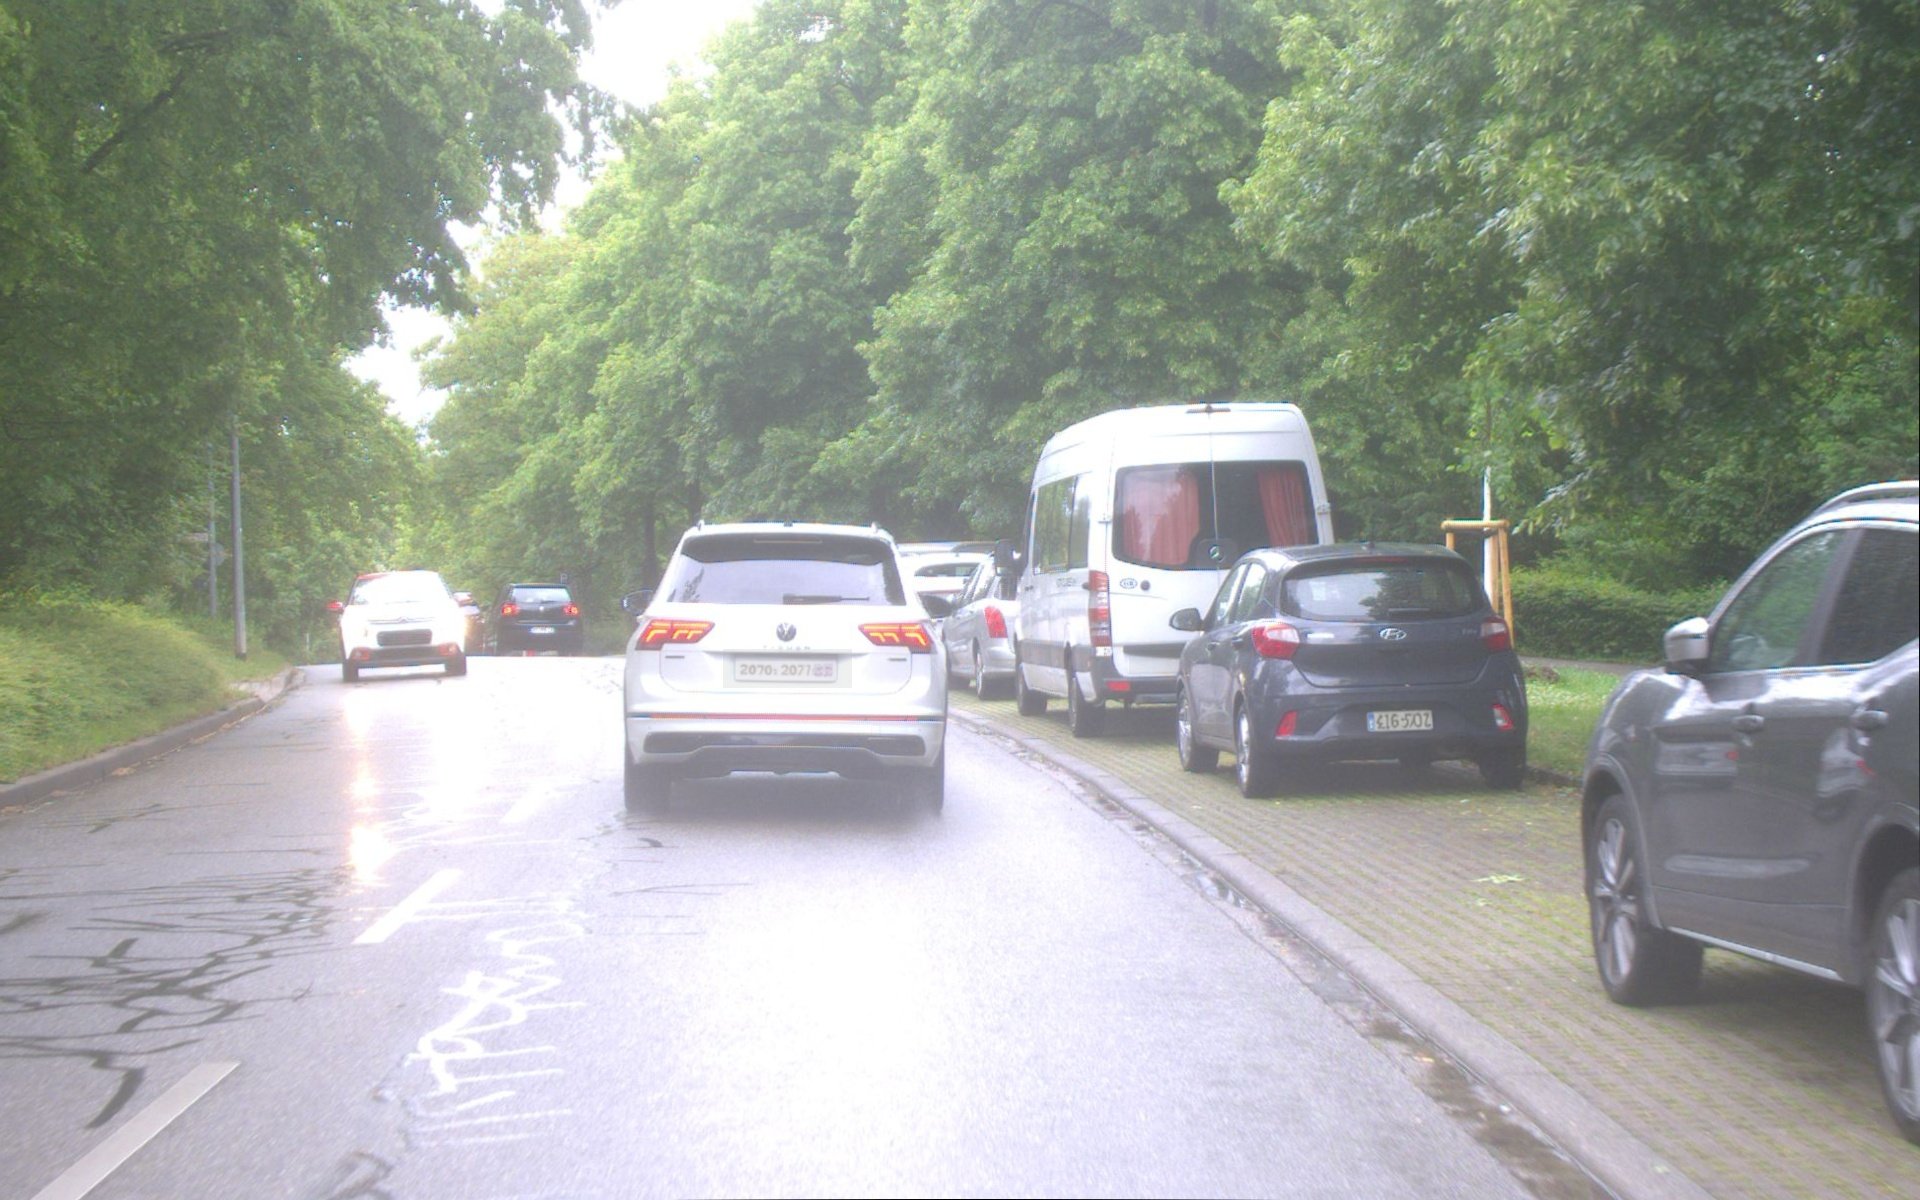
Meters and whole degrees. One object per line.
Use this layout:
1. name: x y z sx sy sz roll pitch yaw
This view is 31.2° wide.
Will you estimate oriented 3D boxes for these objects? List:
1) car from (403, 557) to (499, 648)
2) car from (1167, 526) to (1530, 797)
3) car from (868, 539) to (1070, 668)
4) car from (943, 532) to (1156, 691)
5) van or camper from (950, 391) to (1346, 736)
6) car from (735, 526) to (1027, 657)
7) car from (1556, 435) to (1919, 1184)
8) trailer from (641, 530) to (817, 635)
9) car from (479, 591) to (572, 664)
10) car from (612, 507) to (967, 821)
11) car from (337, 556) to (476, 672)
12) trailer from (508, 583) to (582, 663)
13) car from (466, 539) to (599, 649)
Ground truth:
1. car: -12.445 0.036 83.947 1.993 2.006 4.002 -1 3 -13
2. car: 2.364 0.319 21.782 1.865 1.506 3.725 -1 2 0
3. car: 0.052 0.002 43.291 1.993 1.492 4.567 -1 1 -7
4. car: 0.894 0.075 36.772 1.805 1.533 4.268 -2 1 -4
5. van or camper: 1.413 -0.393 30.107 2.015 2.574 8.438 1 2 -7
6. car: -1.142 -0.107 48.416 4.003 1.675 1.608 -2 0 41
7. car: 2.994 0.415 9.347 1.781 1.713 4.262 -2 2 -3
8. trailer: -4.471 -0.290 65.482 2.448 1.806 5.893 -2 -1 -12
9. car: -12.781 0.841 100.951 1.993 1.903 5.510 -1 -2 -14
10. car: -1.029 0.304 20.691 1.905 1.679 4.201 0 1 -3
11. car: -7.770 0.163 48.511 1.665 1.472 3.733 -3 1 -6
12. trailer: -11.640 0.663 96.288 1.529 2.069 4.000 -2 -2 -13
13. car: -8.607 -0.157 68.954 1.993 2.006 4.002 -1 3 -17
